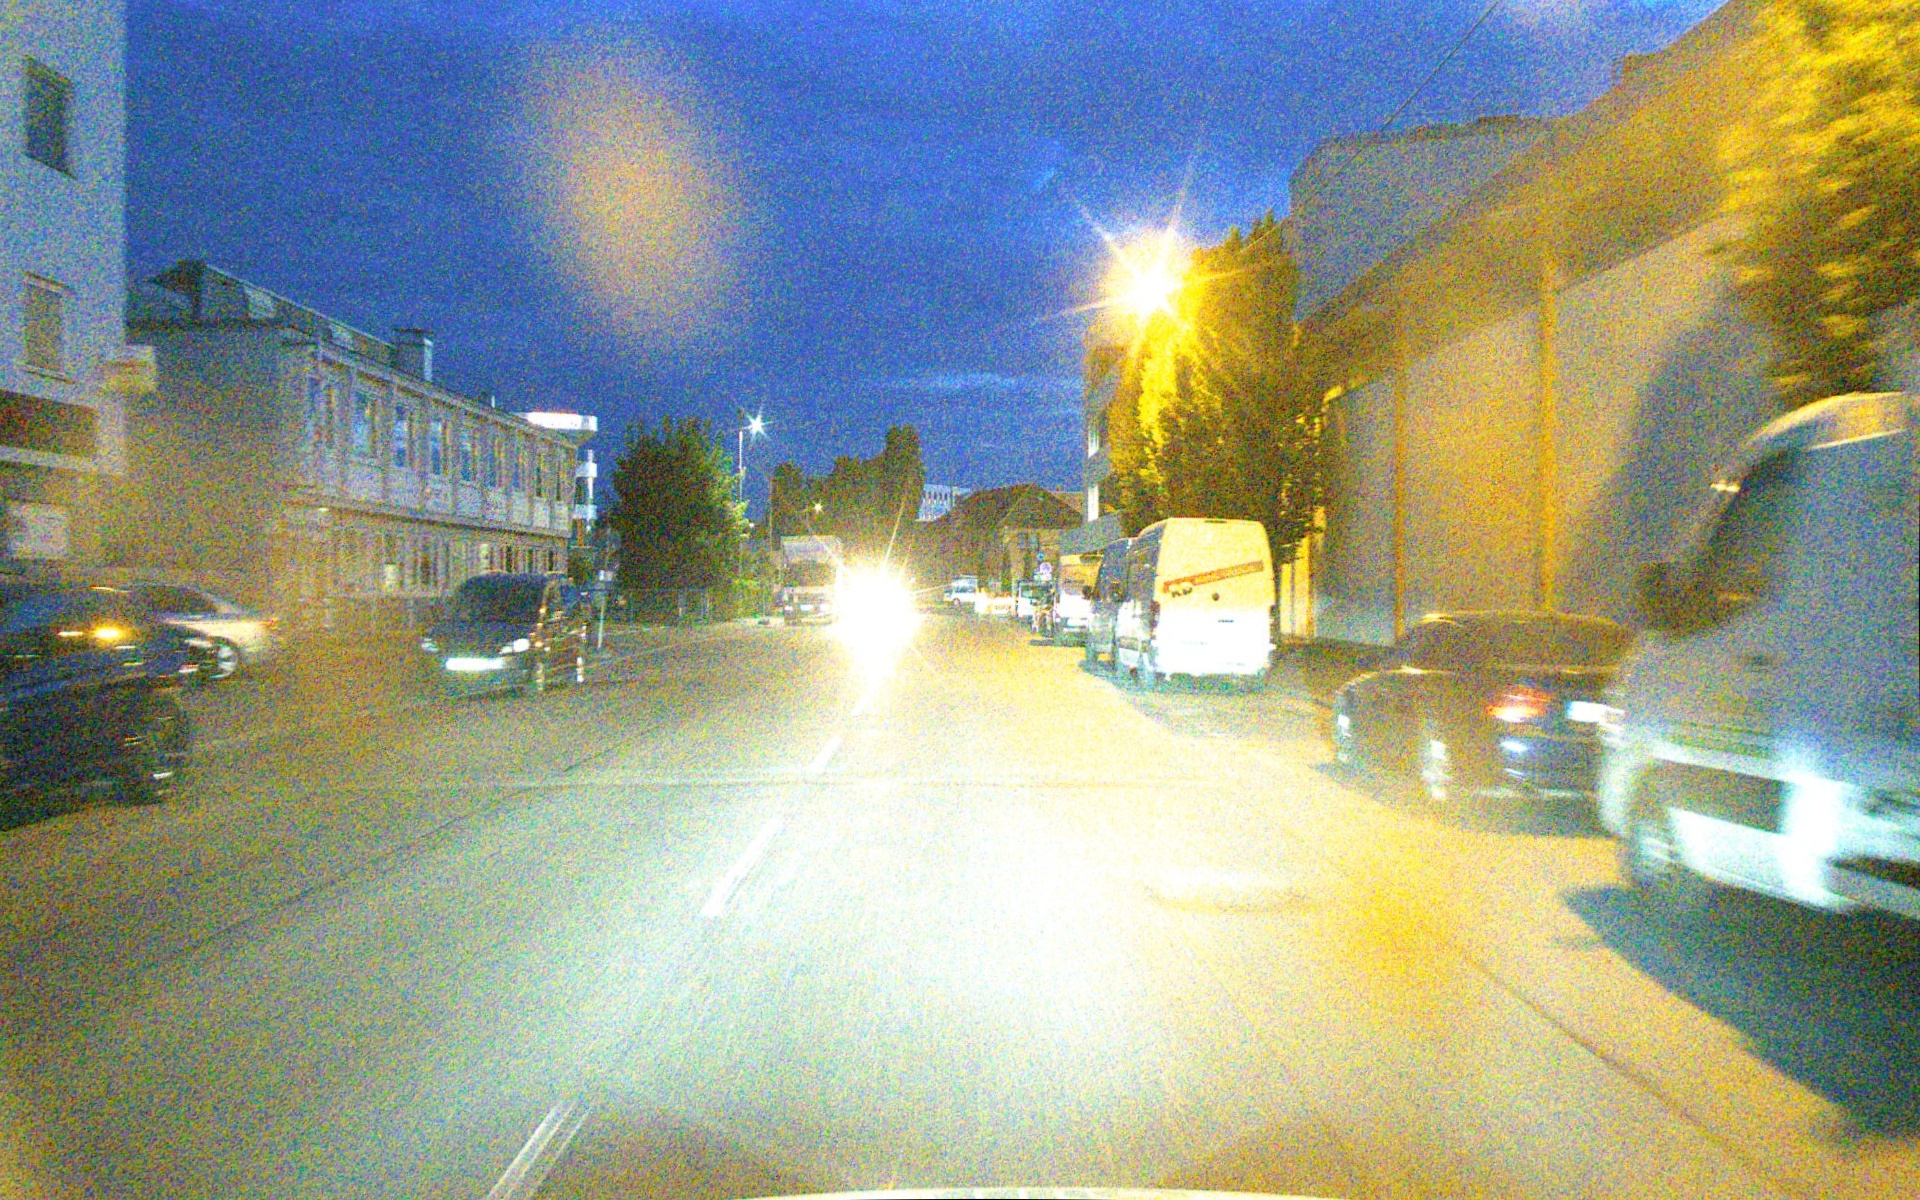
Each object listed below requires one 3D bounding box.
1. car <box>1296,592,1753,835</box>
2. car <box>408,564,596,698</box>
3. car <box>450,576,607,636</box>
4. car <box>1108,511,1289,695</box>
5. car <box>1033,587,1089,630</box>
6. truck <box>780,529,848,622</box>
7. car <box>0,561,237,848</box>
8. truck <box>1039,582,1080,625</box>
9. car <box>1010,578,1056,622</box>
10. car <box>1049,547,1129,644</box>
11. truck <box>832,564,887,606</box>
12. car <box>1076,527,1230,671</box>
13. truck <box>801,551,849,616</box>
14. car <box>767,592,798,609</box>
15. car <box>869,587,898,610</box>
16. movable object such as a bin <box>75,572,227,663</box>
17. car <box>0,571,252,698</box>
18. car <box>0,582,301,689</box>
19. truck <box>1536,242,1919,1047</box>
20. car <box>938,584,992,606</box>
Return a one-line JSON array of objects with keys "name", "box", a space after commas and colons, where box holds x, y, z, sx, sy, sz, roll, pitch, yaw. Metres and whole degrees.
[{"name": "car", "box": [4.067, 0.707, 12.907, 1.792, 1.432, 4.908, 3, 0, -1]}, {"name": "car", "box": [-6.936, 0.427, 25.485, 1.777, 1.881, 4.413, 0, 0, -2]}, {"name": "car", "box": [-12.823, 0.161, 49.202, 4.043, 1.457, 1.897, 5, 1, 18]}, {"name": "car", "box": [3.792, 0.016, 27.437, 1.953, 2.616, 6.013, 3, 0, -1]}, {"name": "car", "box": [3.691, 0.291, 60.990, 1.906, 1.515, 5.012, 0, 1, 2]}, {"name": "truck", "box": [-6.763, -1.121, 77.729, 2.691, 4.104, 9.556, 0, 0, -2]}, {"name": "car", "box": [-6.722, 0.618, 10.829, 1.907, 1.718, 4.815, 0, 1, -1]}, {"name": "truck", "box": [3.959, 0.114, 66.320, 1.342, 1.673, 3.811, 0, 0, -2]}, {"name": "car", "box": [3.493, -0.026, 80.181, 1.953, 2.049, 4.911, -1, 0, -1]}, {"name": "car", "box": [3.680, -0.142, 48.225, 1.952, 2.569, 5.911, 3, 0, 2]}, {"name": "truck", "box": [-9.755, -1.411, 159.089, 2.716, 3.849, 9.079, 0, 0, -21]}, {"name": "car", "box": [3.850, -0.052, 34.168, 2.086, 2.616, 5.906, 3, 0, -3]}, {"name": "truck", "box": [-9.165, -1.088, 111.333, 2.720, 4.192, 9.325, 0, 0, -8]}, {"name": "car", "box": [-15.003, 0.022, 139.786, 1.786, 1.395, 4.338, 0, 0, -18]}, {"name": "car", "box": [-4.976, -0.086, 107.707, 1.820, 1.445, 3.999, 0, 0, -1]}, {"name": "movable object such as a bin", "box": [-14.001, 0.294, 28.700, 1.819, 1.526, 1.609, 0, 0, 0]}, {"name": "car", "box": [-11.915, 0.427, 21.783, 4.607, 1.578, 1.980, 0, 0, -30]}, {"name": "car", "box": [-12.114, 0.476, 24.310, 4.353, 1.465, 1.776, 0, 0, -30]}, {"name": "truck", "box": [4.323, 0.146, 5.766, 2.352, 2.639, 6.597, 0, 0, 0]}, {"name": "car", "box": [0.460, -0.474, 142.569, 4.267, 1.675, 1.879, -3, 2, -23]}]
